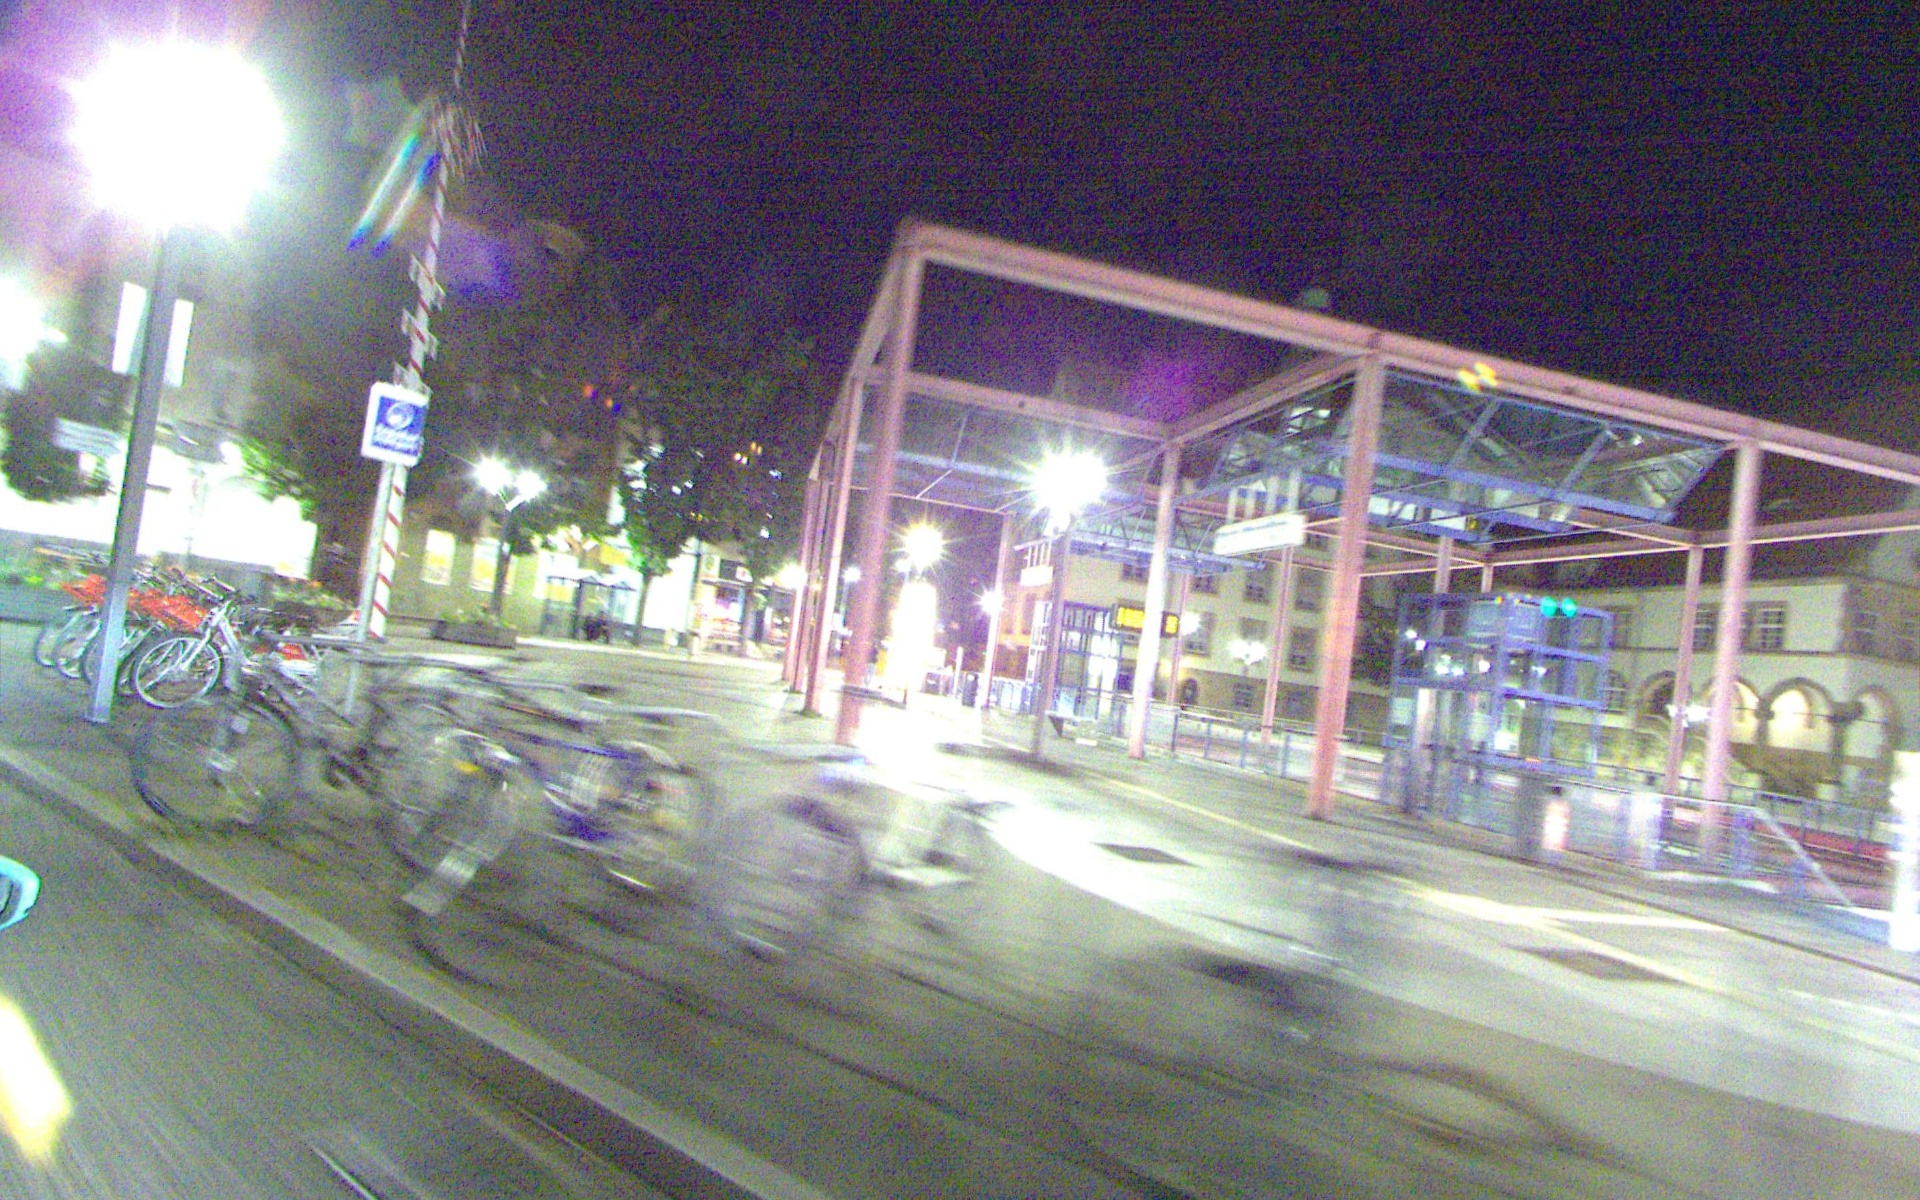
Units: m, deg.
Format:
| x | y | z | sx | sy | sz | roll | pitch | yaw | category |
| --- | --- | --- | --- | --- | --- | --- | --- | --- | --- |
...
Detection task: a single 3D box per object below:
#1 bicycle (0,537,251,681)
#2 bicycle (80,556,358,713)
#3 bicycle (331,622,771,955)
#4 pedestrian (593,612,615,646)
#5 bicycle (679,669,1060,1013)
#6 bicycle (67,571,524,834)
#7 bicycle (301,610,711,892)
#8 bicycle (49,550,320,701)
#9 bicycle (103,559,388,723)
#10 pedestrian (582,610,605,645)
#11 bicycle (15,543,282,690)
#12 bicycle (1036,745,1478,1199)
| x | y | z | sx | sy | sz | roll | pitch | yaw | category |
| --- | --- | --- | --- | --- | --- | --- | --- | --- | --- |
| -8.319 | 0.126 | 10.025 | 0.747 | 1.163 | 1.787 | 7 | -3 | 30 | bicycle |
| -6.506 | 0.349 | 8.936 | 0.573 | 1.164 | 1.774 | 6 | -3 | 36 | bicycle |
| -1.714 | 0.786 | 4.521 | 0.632 | 1.147 | 1.659 | 7 | -3 | 31 | bicycle |
| -14.397 | 1.171 | 40.671 | 0.507 | 1.313 | 0.465 | 6 | -2 | 35 | pedestrian |
| -0.296 | 0.988 | 4.563 | 0.675 | 1.153 | 1.774 | 7 | -3 | 31 | bicycle |
| -3.529 | 0.574 | 5.566 | 0.713 | 1.147 | 1.870 | 7 | -3 | 30 | bicycle |
| -2.225 | 0.751 | 5.221 | 0.619 | 1.147 | 1.793 | 7 | -3 | 30 | bicycle |
| -7.065 | 0.280 | 9.276 | 0.572 | 1.163 | 1.777 | 7 | -3 | 30 | bicycle |
| -6.009 | 0.391 | 8.572 | 0.573 | 1.164 | 1.774 | 6 | -3 | 36 | bicycle |
| -14.667 | 1.106 | 40.281 | 0.507 | 1.313 | 0.465 | 6 | -2 | 35 | pedestrian |
| -7.685 | 0.205 | 9.631 | 0.604 | 1.163 | 1.777 | 7 | -3 | 30 | bicycle |
| 1.038 | 1.095 | 3.133 | 0.814 | 1.153 | 1.659 | 7 | -3 | 31 | bicycle |
